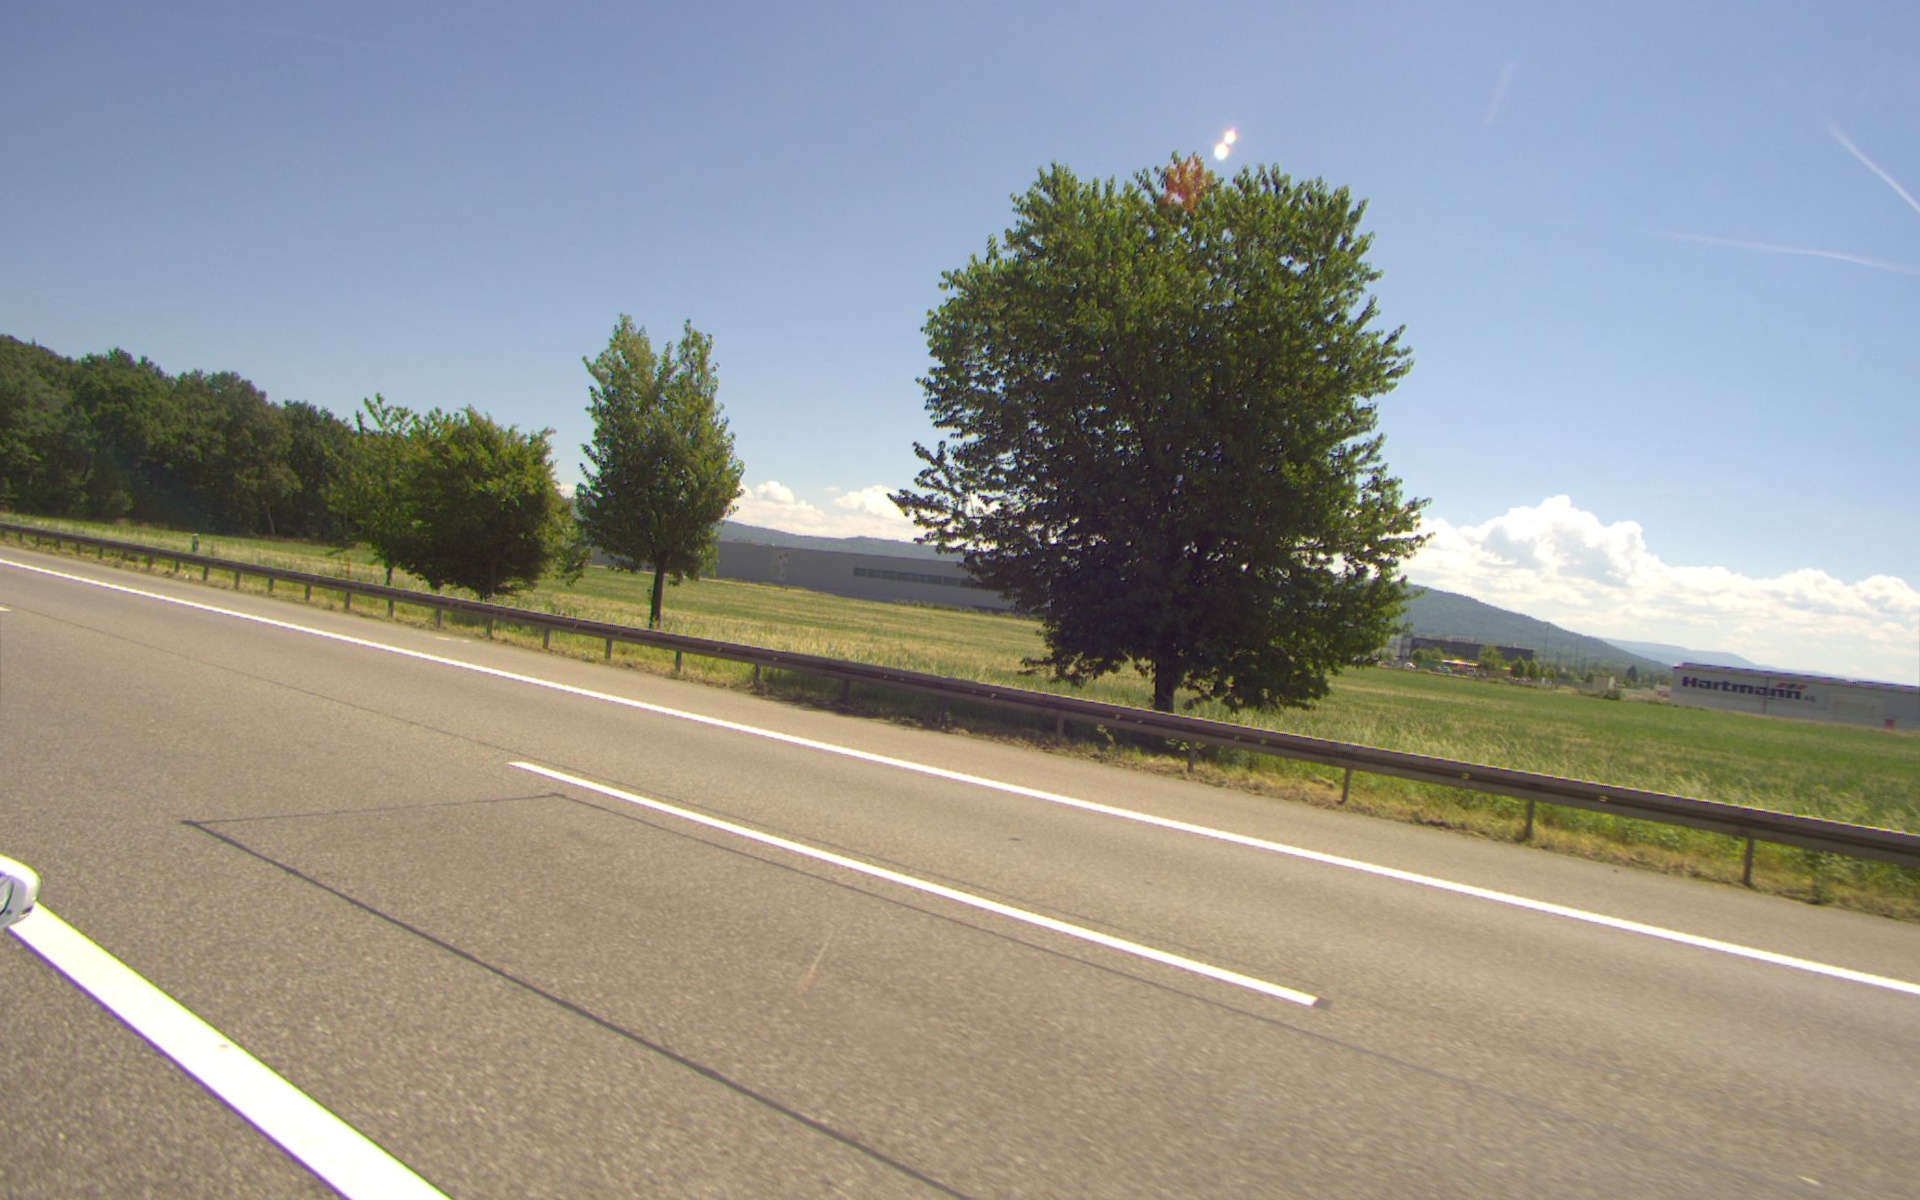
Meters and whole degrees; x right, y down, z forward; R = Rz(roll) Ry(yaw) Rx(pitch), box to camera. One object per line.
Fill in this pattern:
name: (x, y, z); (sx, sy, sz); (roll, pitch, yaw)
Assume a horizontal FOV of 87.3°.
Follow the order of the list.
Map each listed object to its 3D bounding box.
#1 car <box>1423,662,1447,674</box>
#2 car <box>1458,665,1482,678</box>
car: (98.880, 14.105, 209.458); (3.940, 2.038, 1.868); (6, -1, 37)
car: (103.981, 14.632, 205.258); (3.940, 2.038, 1.868); (6, -1, 37)
